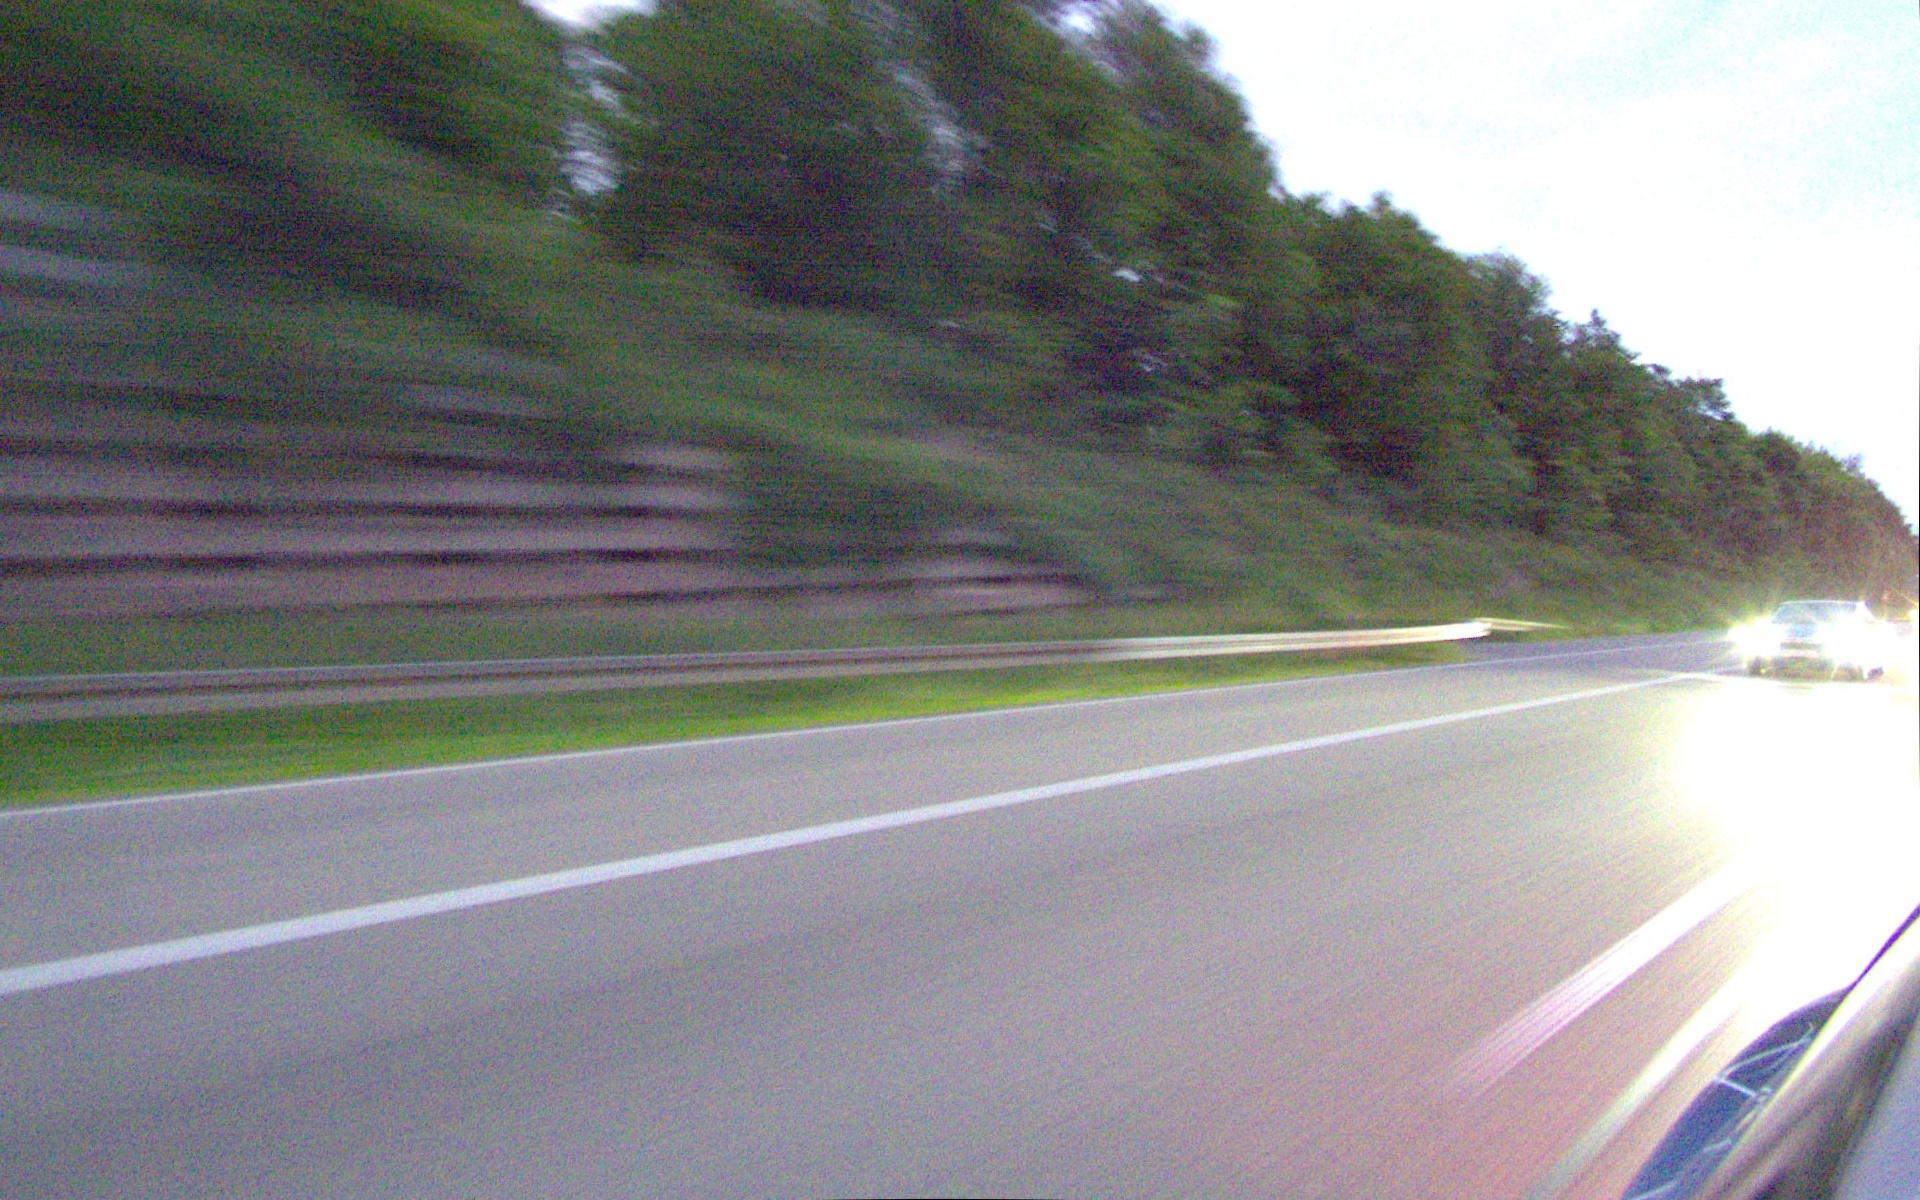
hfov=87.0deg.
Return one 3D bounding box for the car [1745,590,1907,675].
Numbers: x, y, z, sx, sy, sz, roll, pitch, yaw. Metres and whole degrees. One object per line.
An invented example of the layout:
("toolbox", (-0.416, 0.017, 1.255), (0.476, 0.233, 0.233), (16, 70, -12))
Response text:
("car", (17.101, 0.556, 19.909), (4.505, 1.454, 1.868), (-1, 1, -42))
